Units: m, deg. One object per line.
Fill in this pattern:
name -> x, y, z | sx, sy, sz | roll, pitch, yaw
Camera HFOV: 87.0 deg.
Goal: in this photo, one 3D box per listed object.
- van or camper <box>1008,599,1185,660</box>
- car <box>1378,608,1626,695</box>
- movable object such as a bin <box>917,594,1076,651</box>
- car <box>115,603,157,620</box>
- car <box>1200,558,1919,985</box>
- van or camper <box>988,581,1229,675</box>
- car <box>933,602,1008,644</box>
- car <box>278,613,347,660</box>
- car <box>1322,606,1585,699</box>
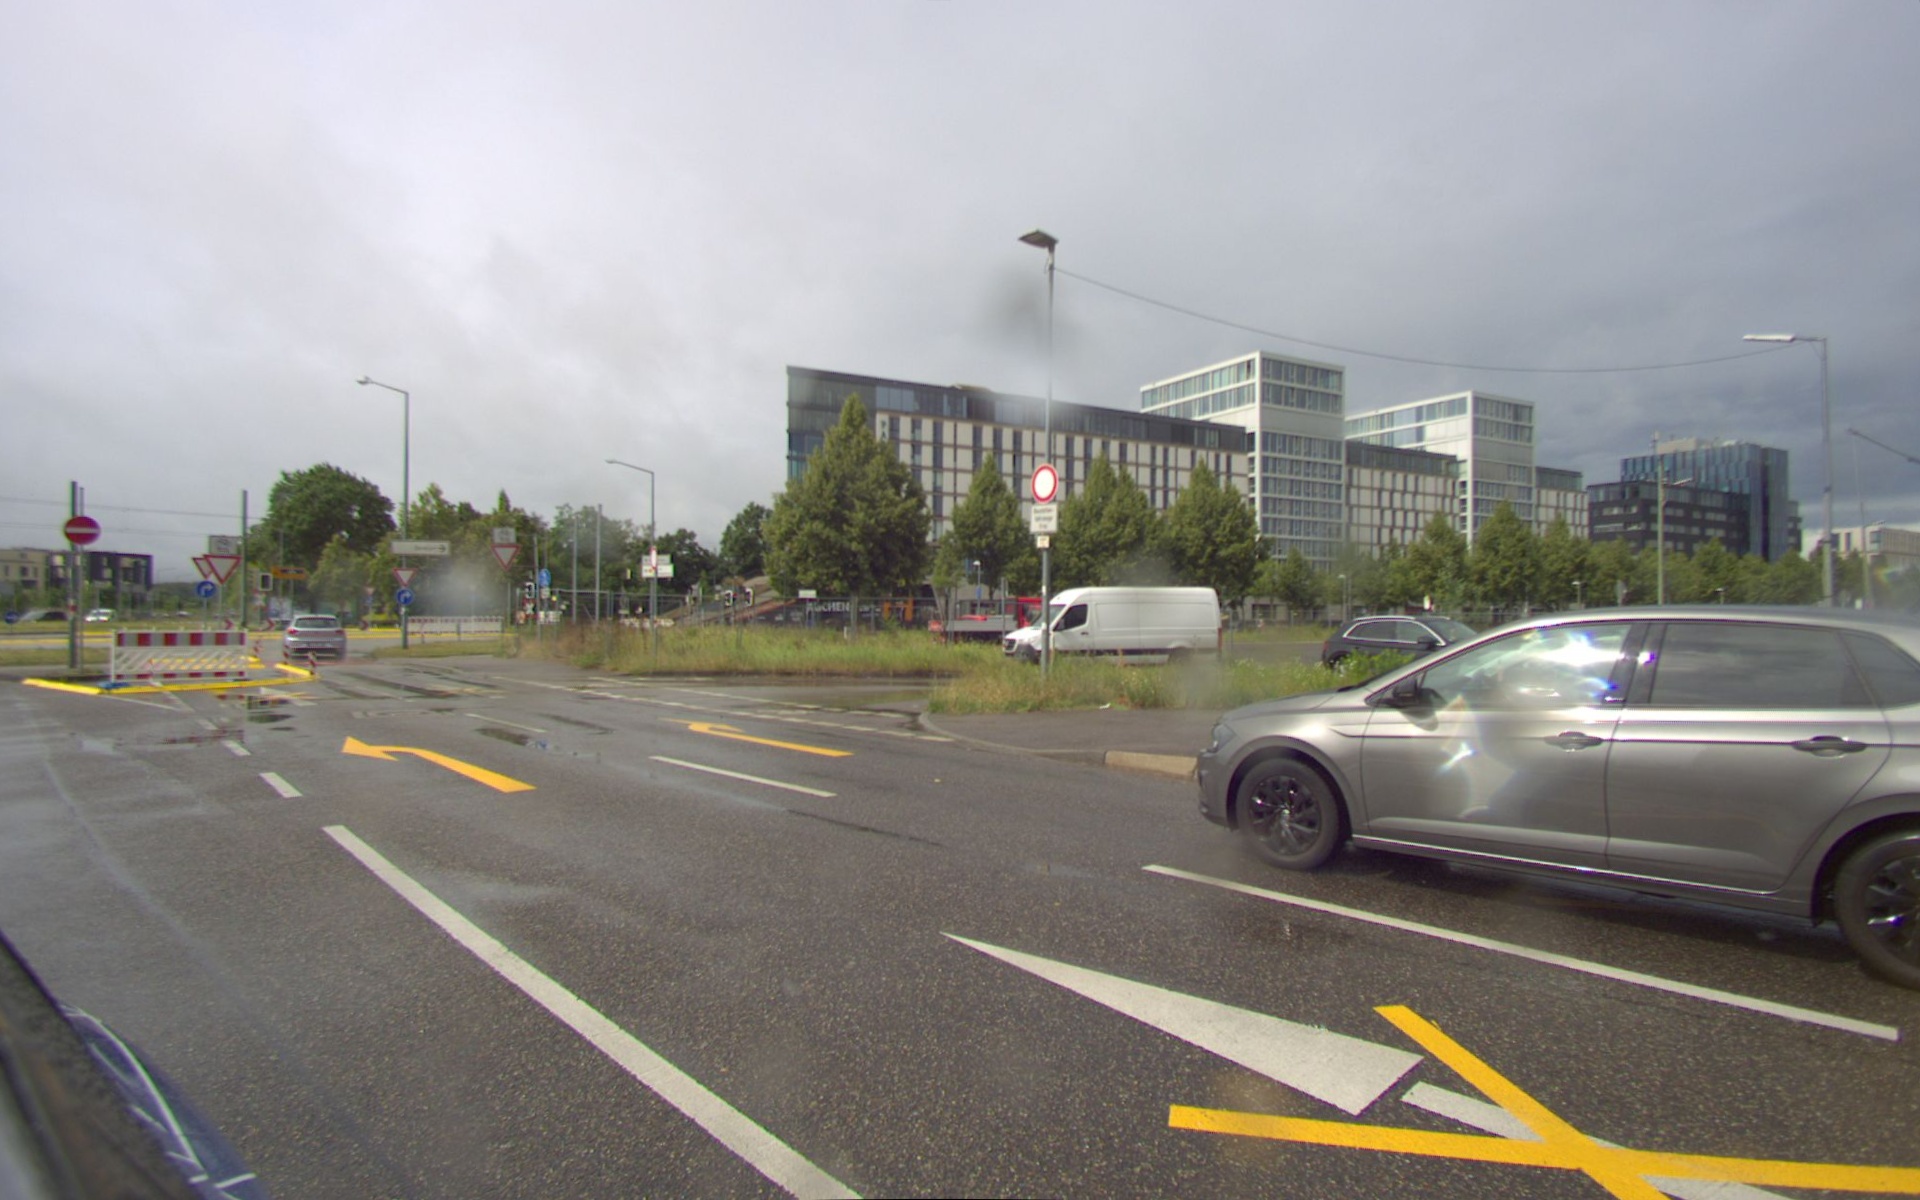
van or camper -> 5.229, 1.103, 38.949 | 6.289, 2.205, 2.447 | 0, -1, -17
car -> 11.291, 1.005, 21.342 | 1.731, 1.630, 4.268 | 0, -1, -37
movable object such as a bin -> 1.582, 0.980, 44.659 | 6.501, 2.405, 2.684 | 0, -1, -18
car -> -79.780, 1.114, 98.061 | 1.642, 1.541, 3.487 | 0, -1, -10
car -> 3.271, 0.639, 4.926 | 3.795, 1.519, 1.661 | -1, -2, 45
van or camper -> 4.519, 0.841, 30.934 | 6.863, 2.667, 2.519 | 0, -1, -17
car -> 0.493, 1.136, 51.290 | 1.966, 2.029, 4.012 | 1, -1, -32
car -> -21.611, 1.171, 33.723 | 1.715, 1.425, 4.190 | 0, -1, -36
car -> 9.561, 0.952, 19.937 | 1.731, 1.630, 4.336 | 0, -1, -37
